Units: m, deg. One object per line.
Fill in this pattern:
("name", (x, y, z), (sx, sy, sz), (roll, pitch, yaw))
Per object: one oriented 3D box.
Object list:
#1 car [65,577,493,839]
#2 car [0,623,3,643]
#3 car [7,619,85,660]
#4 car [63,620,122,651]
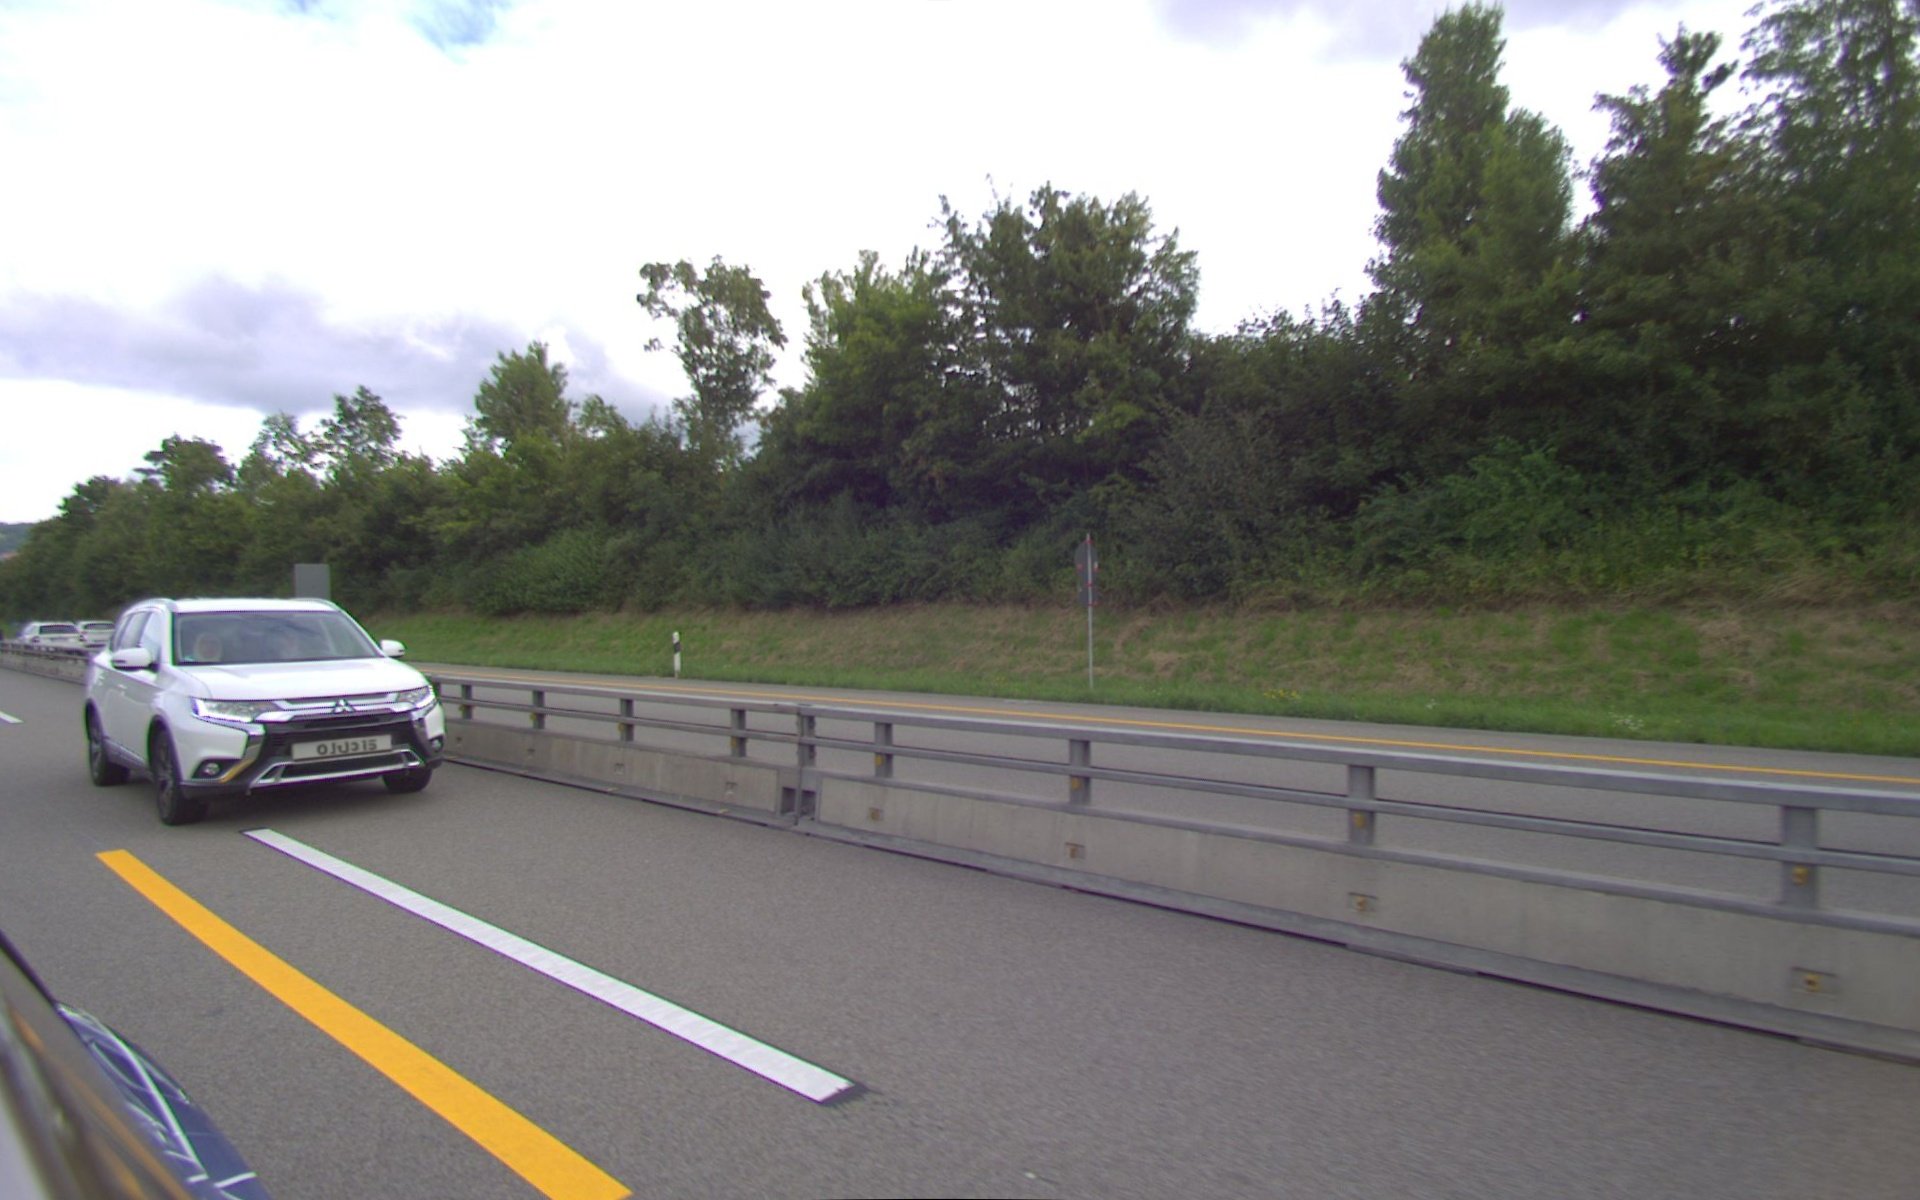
("car", (-5.982, 0.720, 8.637), (4.605, 1.640, 1.972), (-1, -1, 42))
("car", (-77.456, 2.641, 80.107), (5.022, 1.535, 1.973), (-1, 0, 41))
("car", (-35.816, 1.511, 39.620), (4.548, 1.465, 1.678), (-1, -1, 40))
("car", (-44.545, 1.790, 51.932), (3.956, 1.465, 1.678), (-1, 0, 40))
